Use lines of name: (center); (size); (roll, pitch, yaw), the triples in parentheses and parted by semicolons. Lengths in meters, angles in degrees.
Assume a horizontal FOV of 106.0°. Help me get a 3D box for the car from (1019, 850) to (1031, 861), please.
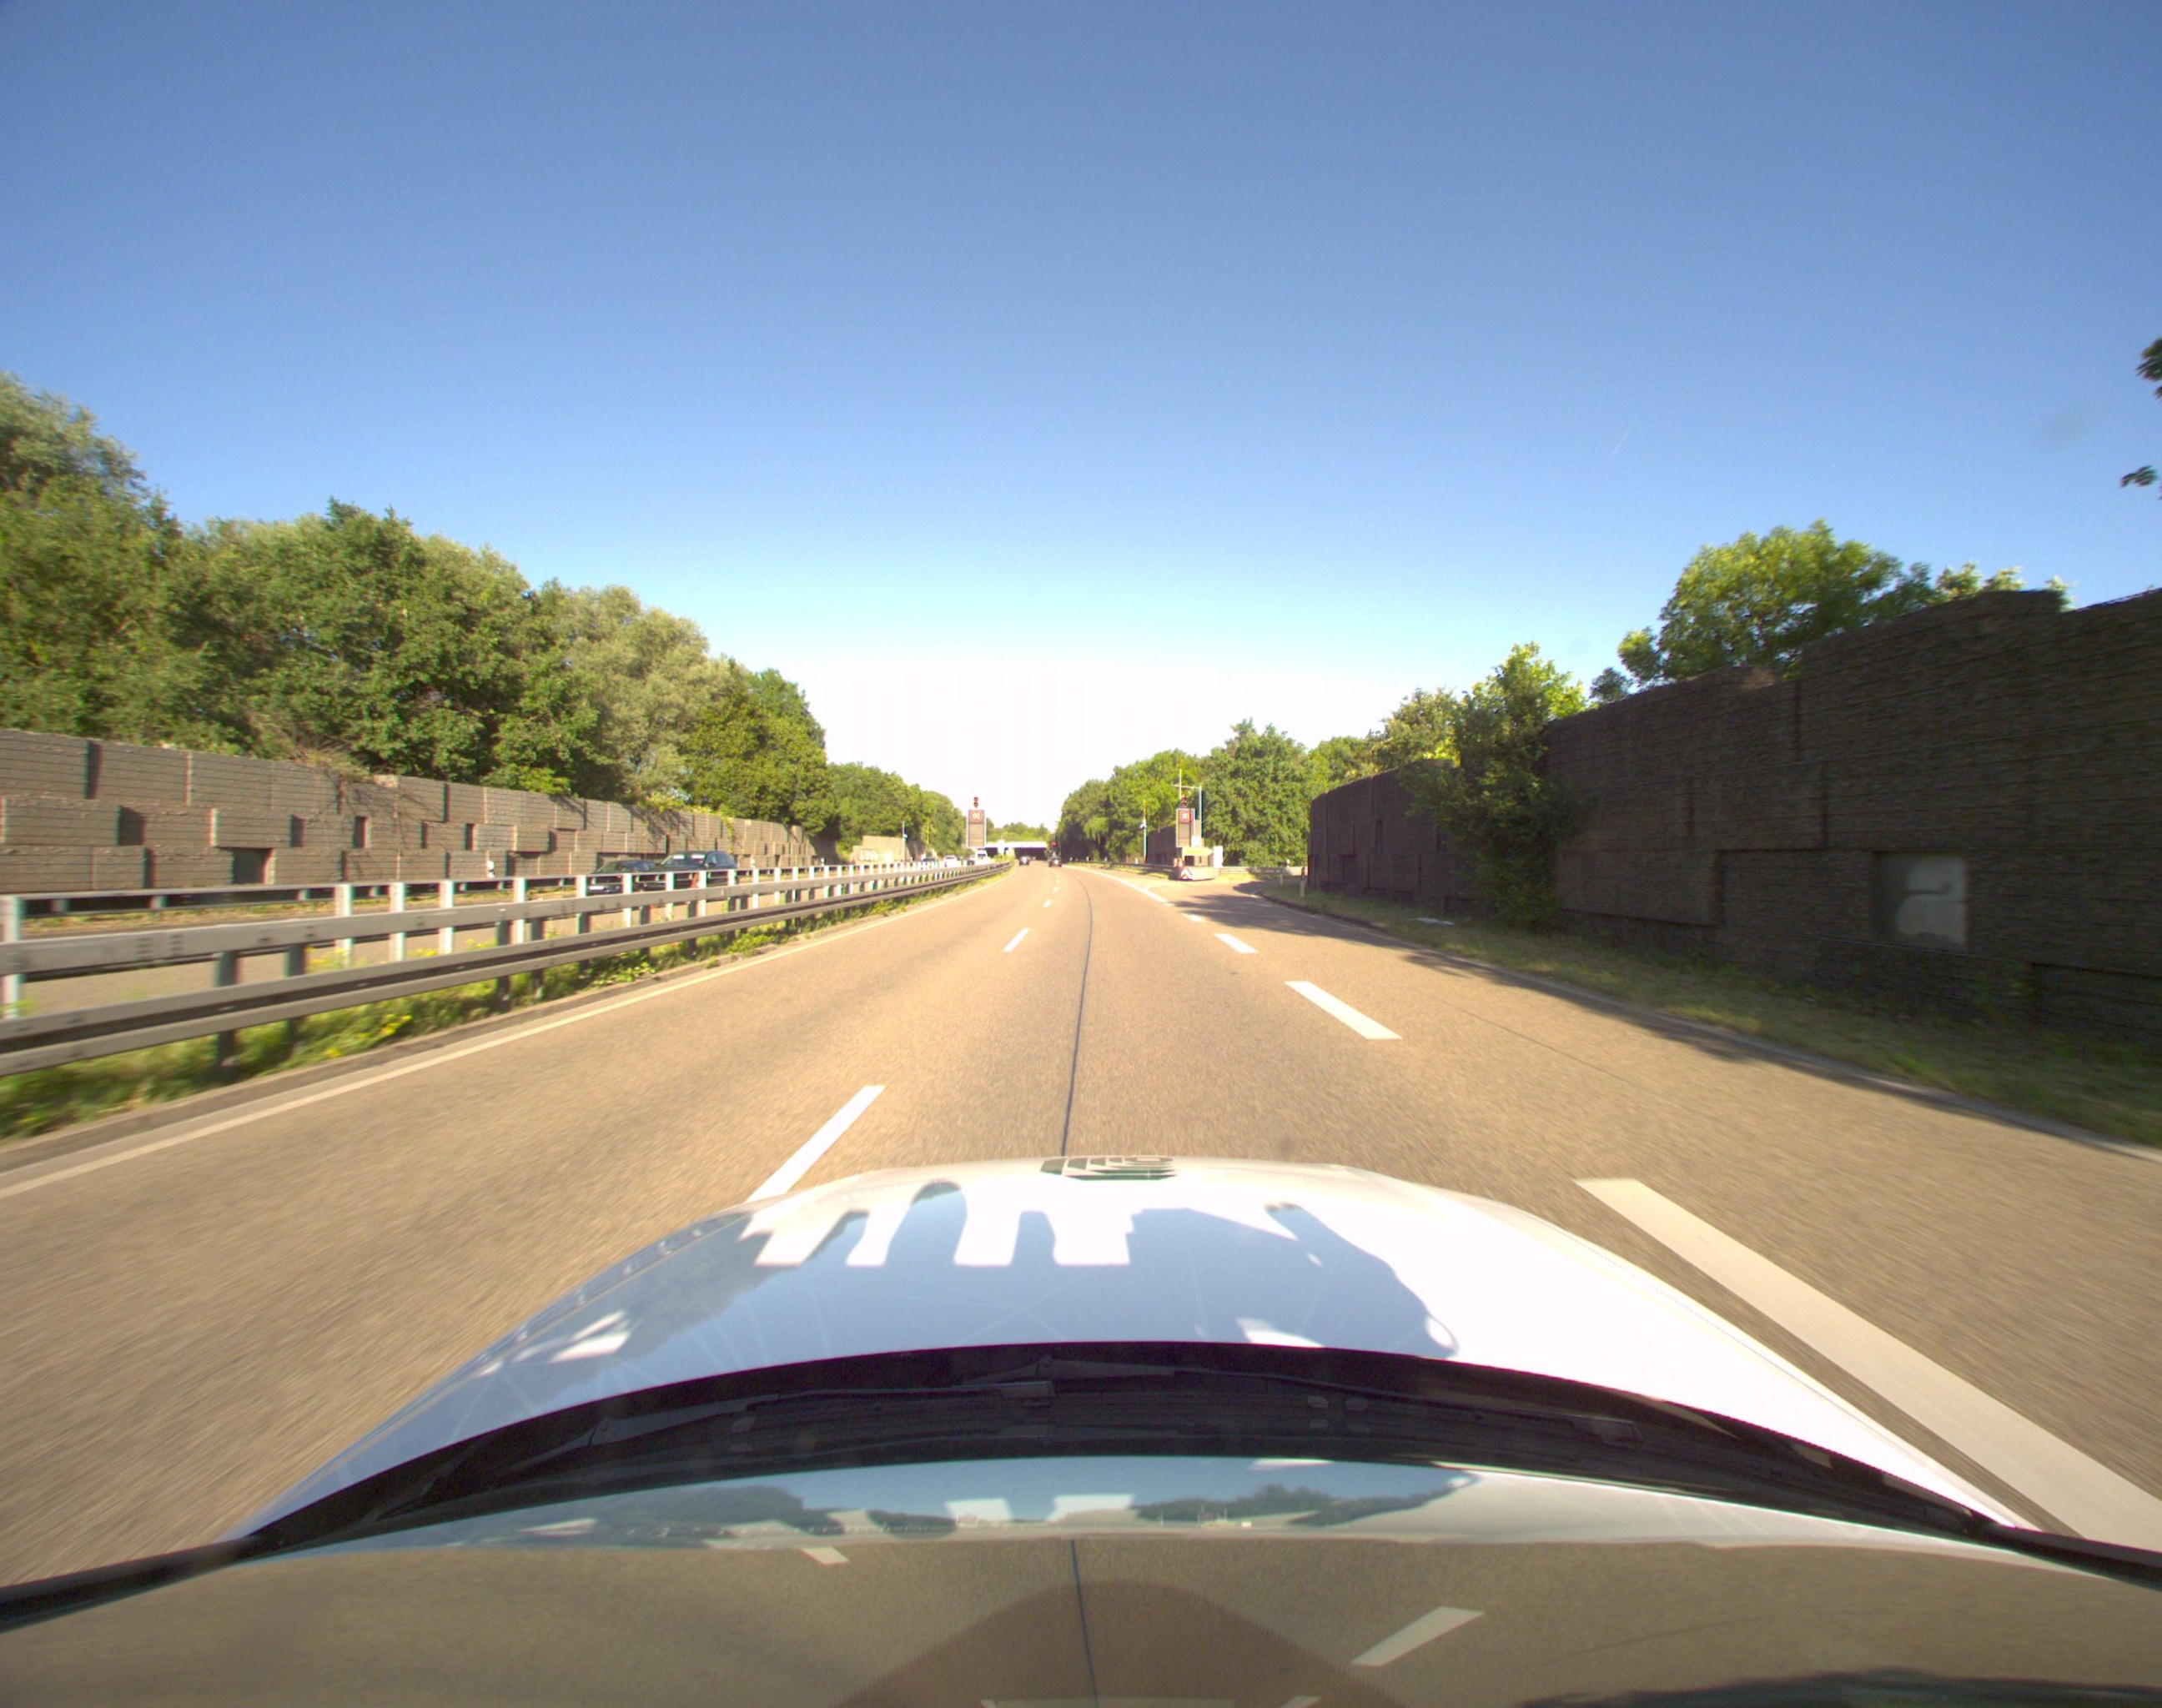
car: (-9.783, 0.295, 141.737); (1.990, 1.925, 3.993); (0, 0, -5)

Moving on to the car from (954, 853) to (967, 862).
car: (-22.050, 0.631, 148.698); (1.897, 1.620, 4.691); (2, 0, -3)

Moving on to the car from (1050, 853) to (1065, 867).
car: (-3.503, 0.845, 120.168); (1.990, 1.925, 3.993); (0, 0, -5)

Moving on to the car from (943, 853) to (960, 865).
car: (-19.486, 0.728, 122.505); (1.988, 1.596, 4.618); (2, 0, -2)

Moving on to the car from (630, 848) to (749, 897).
car: (-14.064, 0.592, 29.647); (1.891, 1.574, 4.809); (2, 0, 1)

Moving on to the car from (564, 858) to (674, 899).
car: (-18.234, 0.936, 32.388); (1.891, 1.421, 4.135); (-1, 0, 1)

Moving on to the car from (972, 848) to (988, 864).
car: (-18.000, 0.319, 145.695); (2.115, 2.683, 6.583); (2, 0, -2)

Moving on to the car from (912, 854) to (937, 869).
car: (-17.354, 0.799, 90.701); (1.988, 1.480, 4.531); (2, 0, -2)
